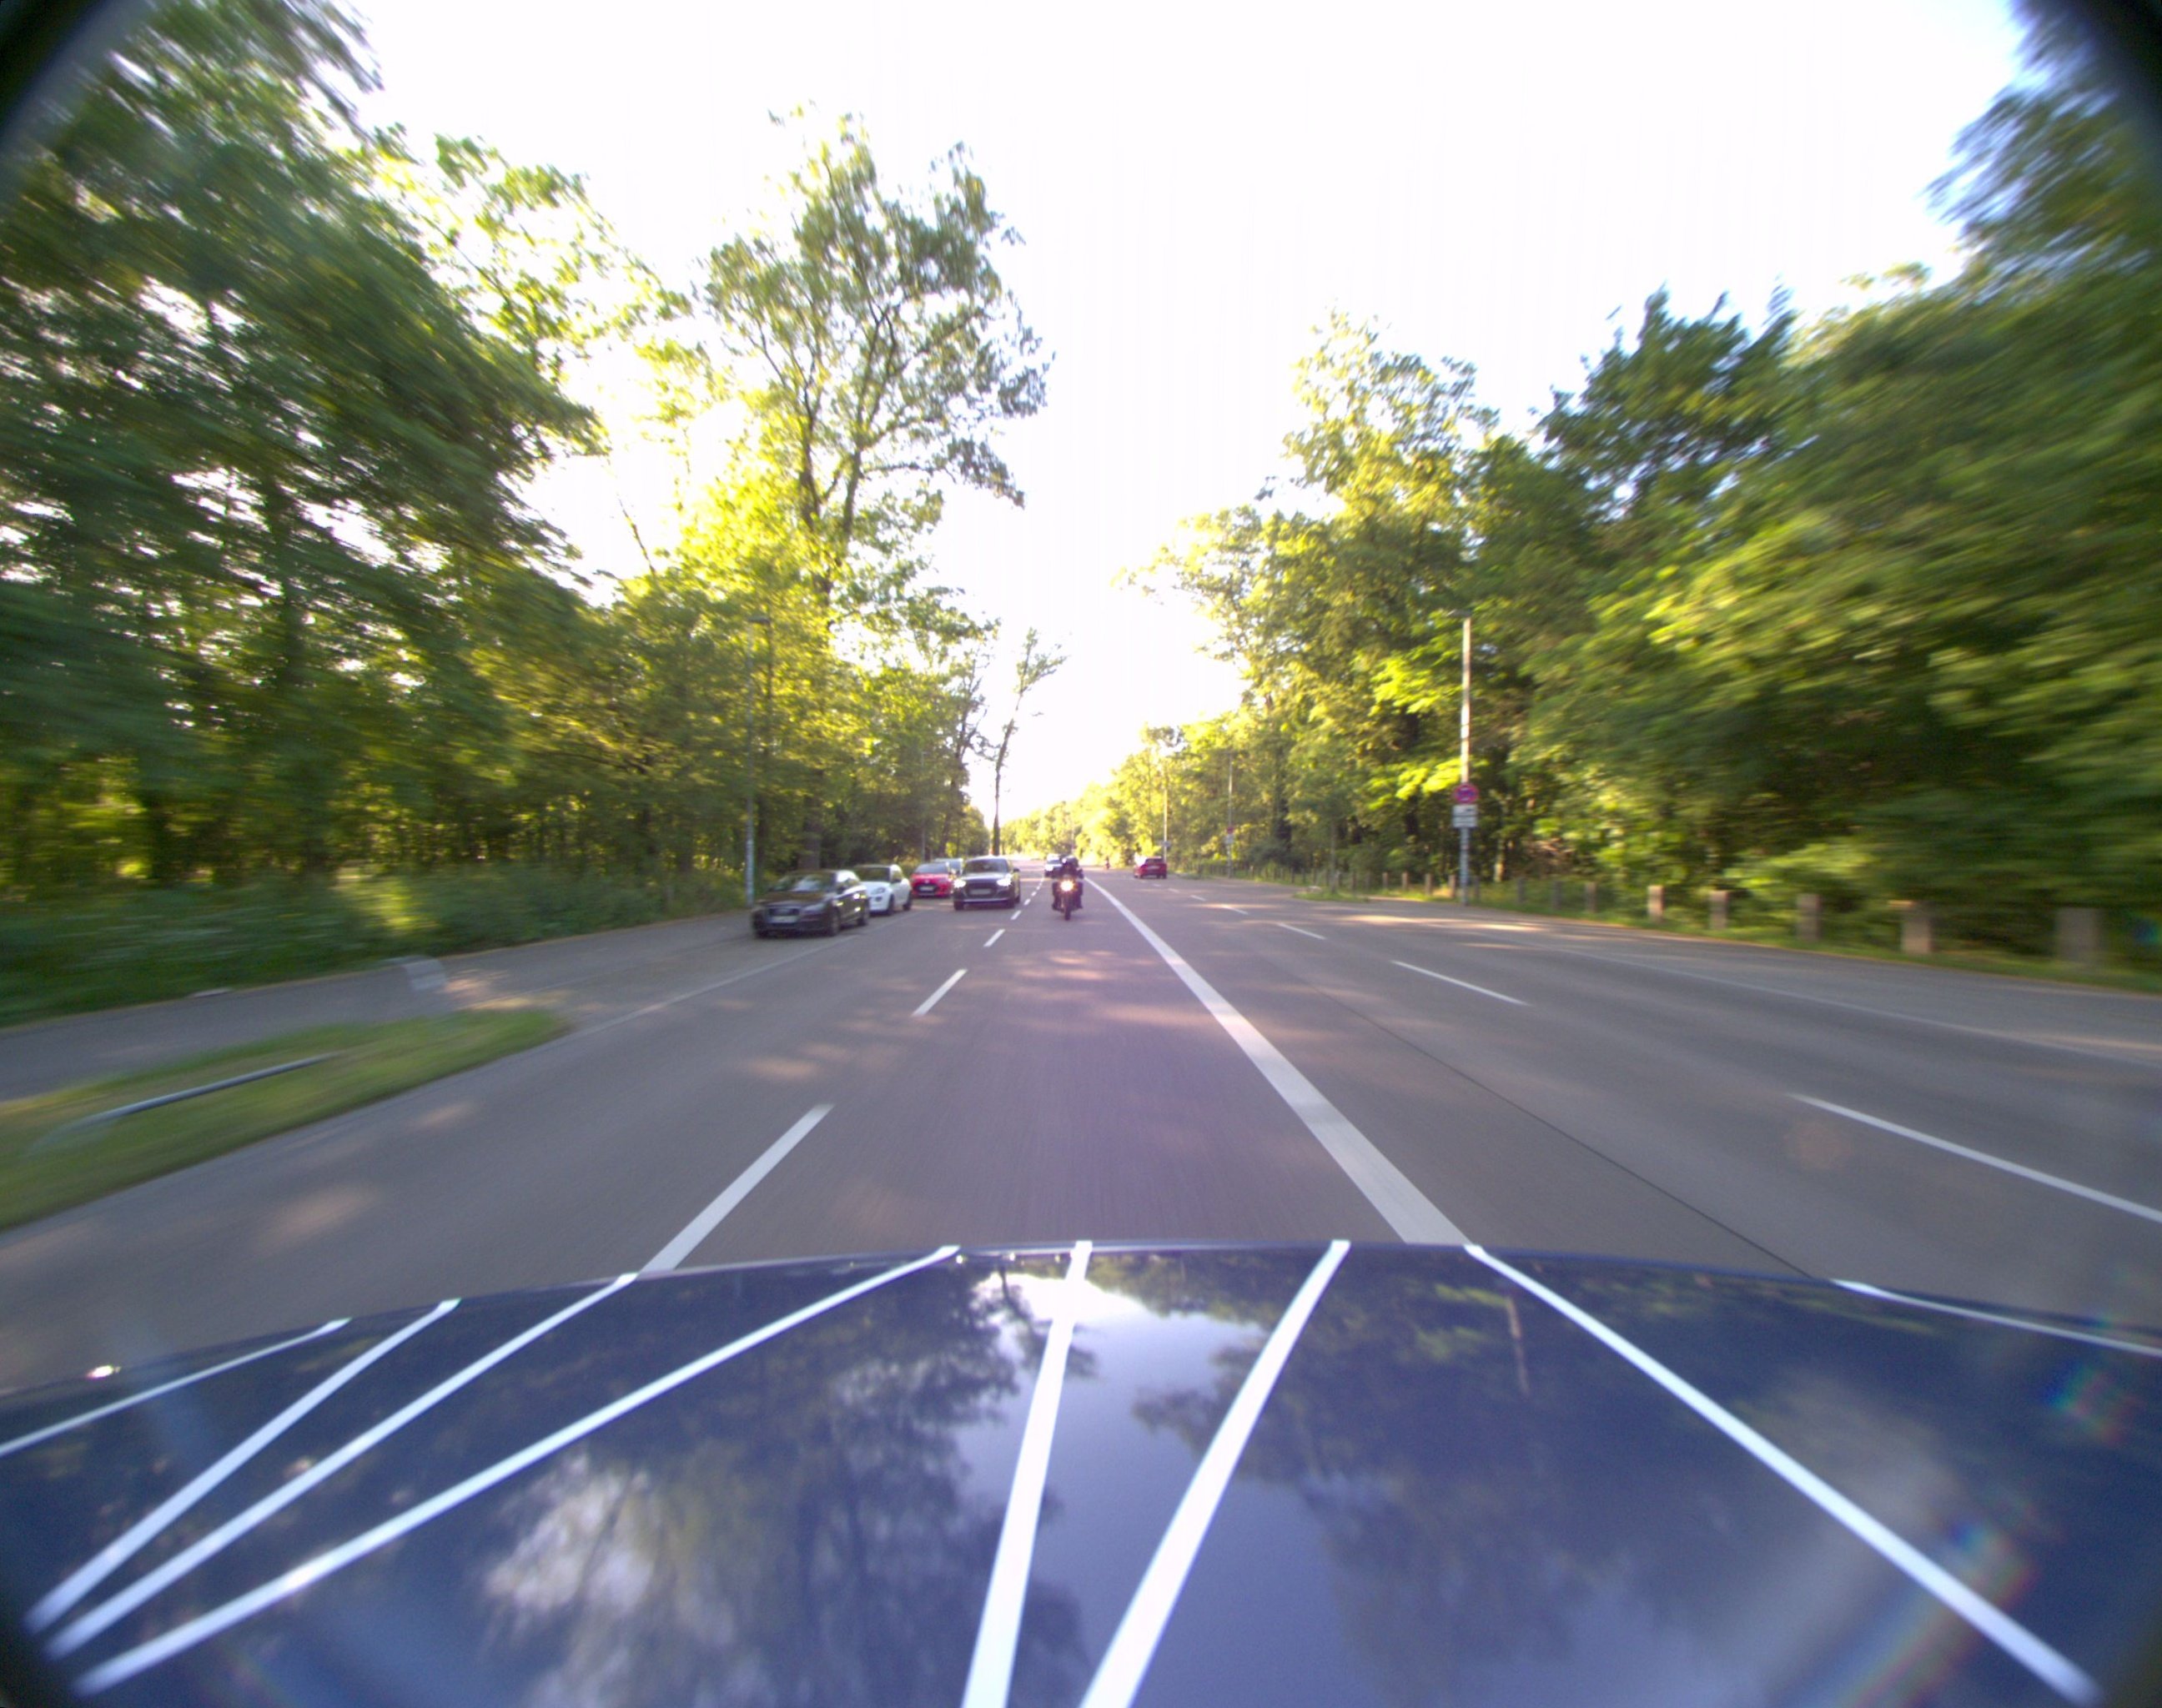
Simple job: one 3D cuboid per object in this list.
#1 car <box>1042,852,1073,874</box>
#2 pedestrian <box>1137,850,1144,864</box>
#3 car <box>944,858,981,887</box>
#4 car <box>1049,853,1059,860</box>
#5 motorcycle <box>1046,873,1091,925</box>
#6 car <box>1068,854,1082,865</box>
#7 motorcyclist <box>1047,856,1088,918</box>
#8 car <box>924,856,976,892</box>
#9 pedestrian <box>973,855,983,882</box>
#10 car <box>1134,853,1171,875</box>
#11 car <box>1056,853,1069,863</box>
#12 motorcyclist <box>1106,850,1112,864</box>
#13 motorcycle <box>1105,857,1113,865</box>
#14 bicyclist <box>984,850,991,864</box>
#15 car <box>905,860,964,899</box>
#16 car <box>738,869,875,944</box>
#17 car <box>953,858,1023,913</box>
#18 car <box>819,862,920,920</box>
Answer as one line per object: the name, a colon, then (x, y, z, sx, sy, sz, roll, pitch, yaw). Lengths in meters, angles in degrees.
car: (-1.983, 0.712, 62.282, 2.000, 1.761, 4.228, -1, 0, -8)
pedestrian: (7.576, 0.325, 96.430, 0.773, 1.758, 0.737, 1, 1, -8)
car: (-6.592, 0.992, 42.622, 1.599, 1.513, 3.909, 1, 0, -2)
car: (-6.225, 0.519, 174.594, 1.999, 1.649, 4.446, -1, 0, -4)
motorcycle: (-0.363, 1.113, 19.789, 0.956, 1.098, 3.338, -3, 0, -4)
car: (-0.843, 0.725, 102.060, 1.810, 1.536, 4.088, -1, 0, -2)
motorcyclist: (-0.356, 0.834, 19.667, 0.953, 1.523, 1.073, -2, 1, -3)
car: (-6.325, 0.918, 37.162, 1.858, 1.575, 4.721, 2, 0, -2)
pedestrian: (-6.817, 0.966, 50.339, 0.513, 1.746, 0.734, 0, 1, -15)
car: (4.765, 0.644, 51.325, 1.828, 1.454, 4.924, 0, 0, -2)
car: (-3.100, 0.647, 125.621, 1.911, 1.746, 4.798, 0, 0, -4)
motorcyclist: (3.219, 0.340, 87.845, 0.658, 1.531, 0.904, -1, 1, -2)
motorcycle: (3.223, 0.828, 87.778, 0.670, 0.899, 2.166, -1, 0, -2)
bicyclist: (-10.725, 0.343, 86.852, 0.703, 1.552, 0.875, 1, 1, -2)
car: (-6.116, 1.025, 32.134, 1.858, 1.448, 4.461, 2, 0, -3)
car: (-6.009, 1.084, 17.120, 1.740, 1.384, 3.945, -1, 0, -2)
car: (-2.967, 0.965, 25.038, 1.861, 1.608, 3.999, -1, 0, -1)
car: (-6.218, 1.032, 22.829, 1.858, 1.448, 4.282, 2, 0, -1)
